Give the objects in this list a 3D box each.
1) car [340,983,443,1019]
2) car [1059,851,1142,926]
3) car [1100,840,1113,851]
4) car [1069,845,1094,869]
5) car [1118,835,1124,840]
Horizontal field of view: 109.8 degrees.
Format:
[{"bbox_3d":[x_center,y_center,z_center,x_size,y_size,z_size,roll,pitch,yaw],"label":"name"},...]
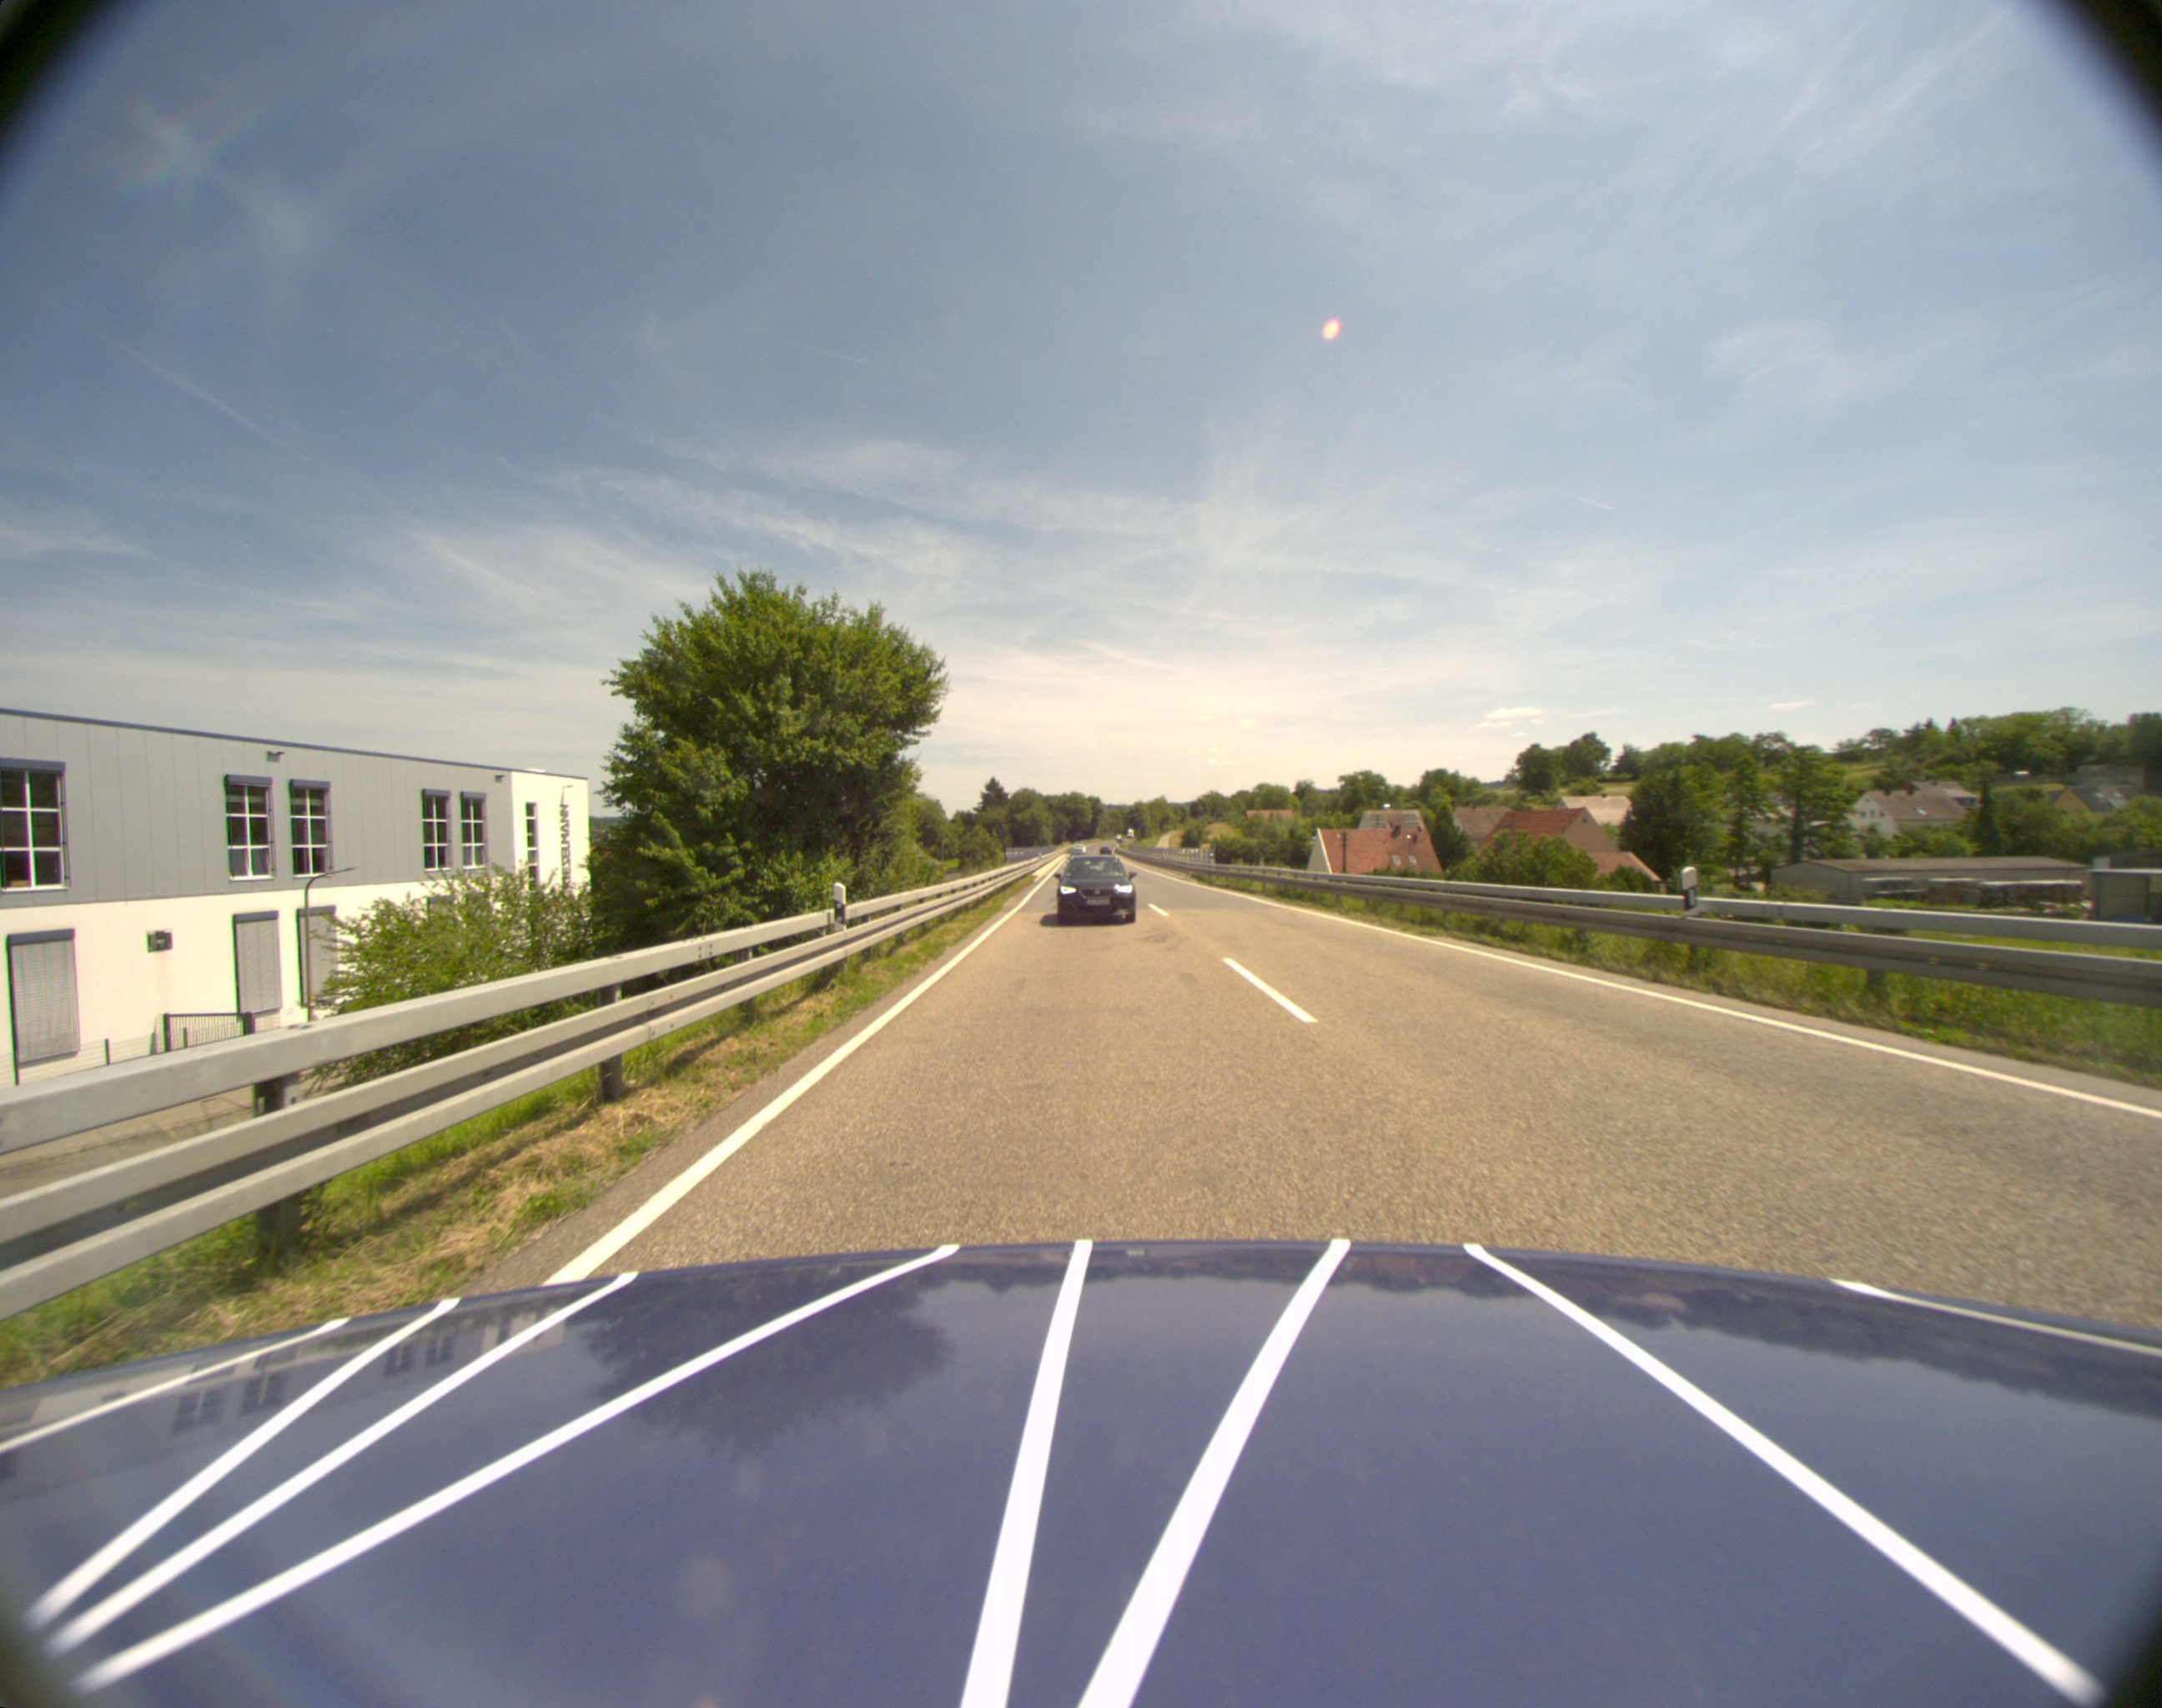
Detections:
[{"bbox_3d":[-39.584,8.442,43.692,4.048,1.562,1.913,3,-2,-1],"label":"car"},{"bbox_3d":[0.396,0.725,17.985,1.738,1.468,3.998,0,2,-1],"label":"car"},{"bbox_3d":[3.793,-1.282,113.308,1.870,1.602,4.371,0,1,0],"label":"car"},{"bbox_3d":[0.056,0.258,60.124,1.879,1.637,4.002,1,-3,1],"label":"car"},{"bbox_3d":[12.253,-5.119,233.793,1.785,1.427,4.835,1,1,4],"label":"car"}]
